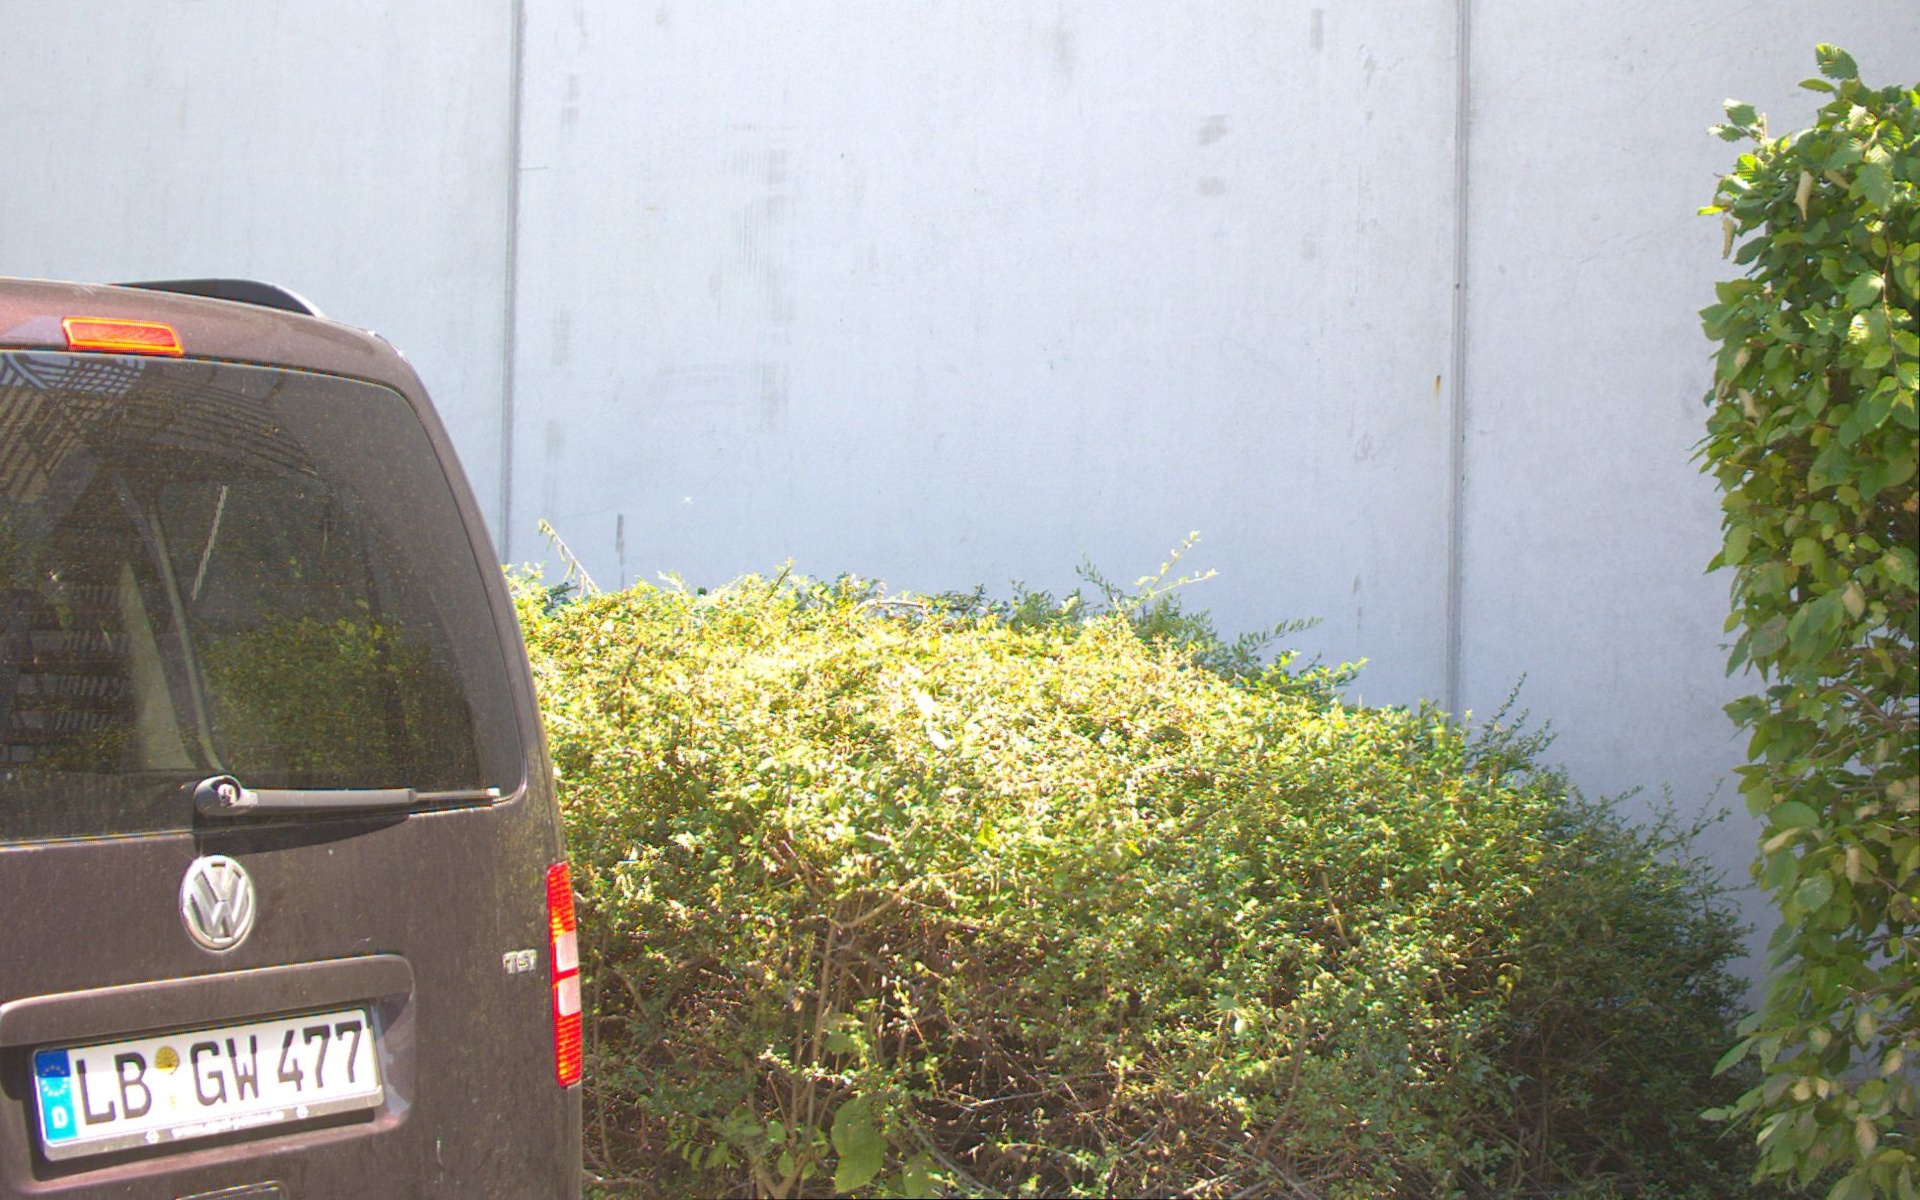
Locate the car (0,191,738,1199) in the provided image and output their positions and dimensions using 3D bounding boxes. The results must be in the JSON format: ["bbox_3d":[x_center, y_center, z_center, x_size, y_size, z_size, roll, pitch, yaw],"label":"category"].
[{"bbox_3d":[-2.436,0.473,5.125,4.067,1.877,1.675,1,1,37],"label":"car"}]
